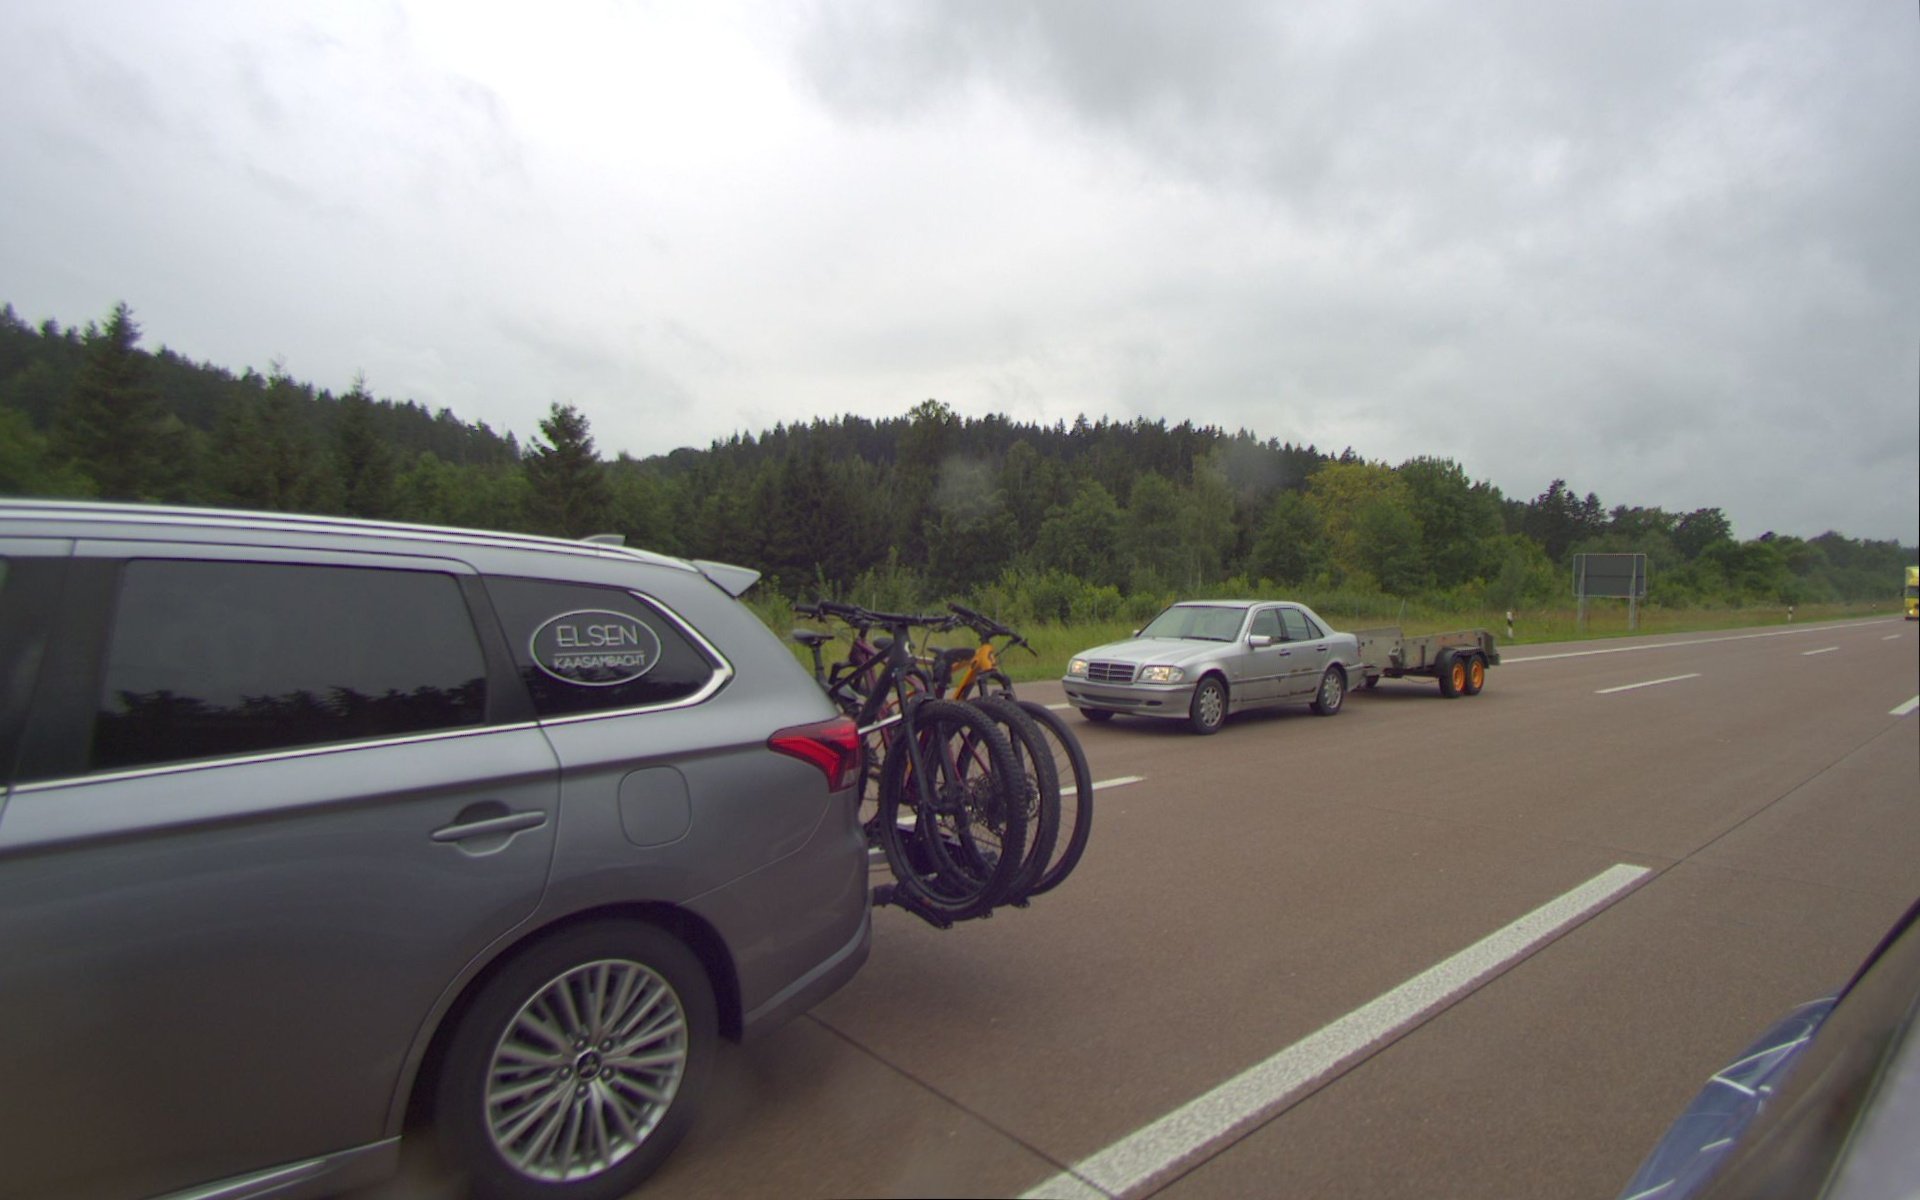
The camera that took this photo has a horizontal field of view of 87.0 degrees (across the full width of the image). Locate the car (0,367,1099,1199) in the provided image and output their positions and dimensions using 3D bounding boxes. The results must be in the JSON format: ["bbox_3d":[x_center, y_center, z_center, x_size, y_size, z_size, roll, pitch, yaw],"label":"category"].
[{"bbox_3d":[-2.337,0.426,2.330,5.719,1.612,1.997,-2,1,-41],"label":"car"}]

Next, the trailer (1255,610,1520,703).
[{"bbox_3d":[6.651,0.767,15.522,4.558,1.181,1.974,0,0,-41],"label":"trailer"}]

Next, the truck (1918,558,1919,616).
[{"bbox_3d":[74.720,-1.039,76.628,6.142,4.267,2.608,-2,1,-41],"label":"truck"}]

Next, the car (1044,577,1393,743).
[{"bbox_3d":[3.314,0.544,12.316,4.891,1.631,1.700,-1,2,-42],"label":"car"}]
